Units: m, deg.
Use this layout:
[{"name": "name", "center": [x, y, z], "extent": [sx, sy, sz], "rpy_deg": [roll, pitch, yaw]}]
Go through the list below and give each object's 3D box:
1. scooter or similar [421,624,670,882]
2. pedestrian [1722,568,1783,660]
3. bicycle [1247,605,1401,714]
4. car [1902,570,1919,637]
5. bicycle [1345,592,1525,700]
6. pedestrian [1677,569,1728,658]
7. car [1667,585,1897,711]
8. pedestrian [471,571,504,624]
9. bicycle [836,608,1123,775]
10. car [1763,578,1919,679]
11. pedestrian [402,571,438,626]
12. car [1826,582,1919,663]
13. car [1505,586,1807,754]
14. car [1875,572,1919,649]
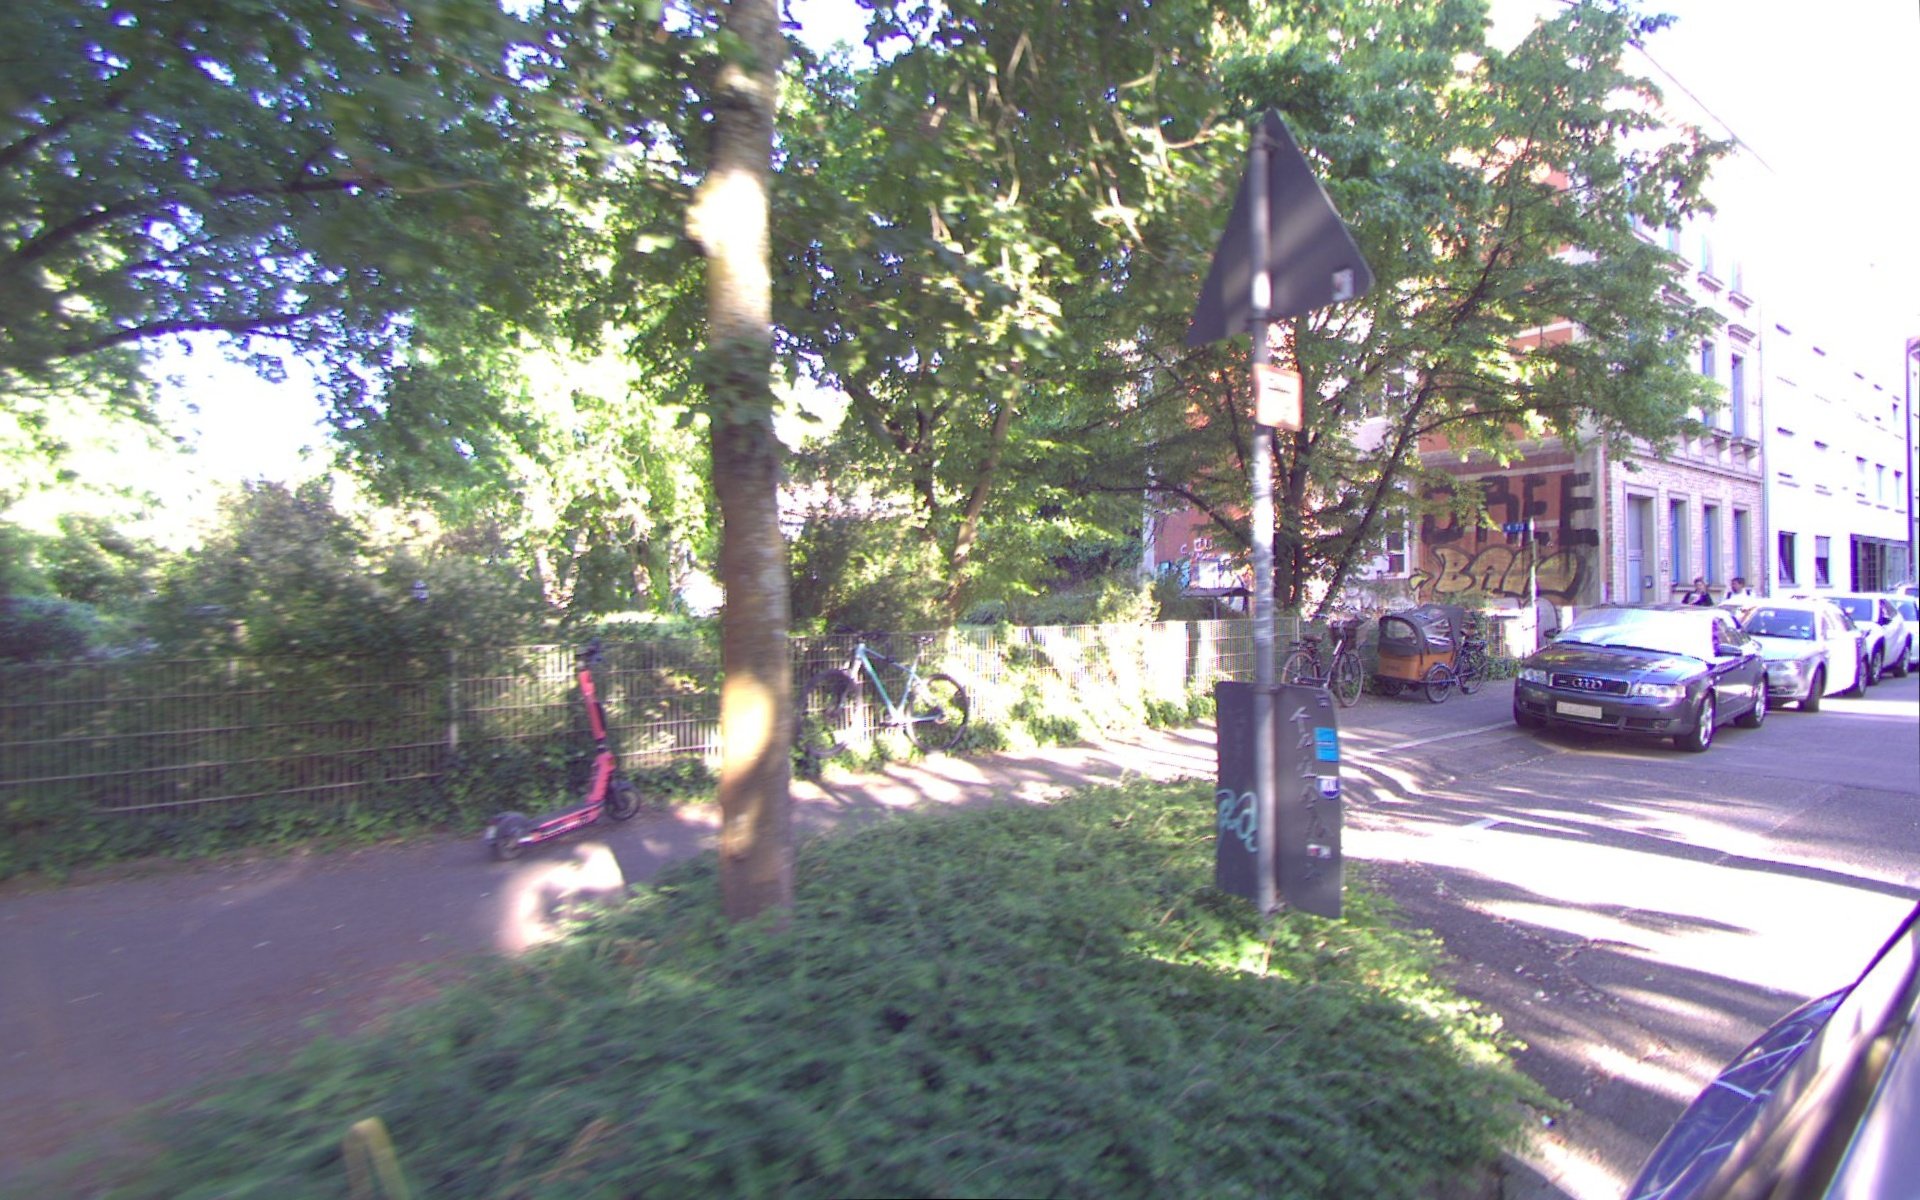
[{"name": "scooter or similar", "center": [-2.420, 0.823, 6.094], "extent": [0.539, 1.277, 1.463], "rpy_deg": [0, 1, 20]}, {"name": "pedestrian", "center": [15.435, 0.249, 19.713], "extent": [0.739, 1.730, 0.712], "rpy_deg": [-1, 3, -39]}, {"name": "bicycle", "center": [4.512, 0.689, 12.490], "extent": [1.945, 1.216, 0.849], "rpy_deg": [0, 0, -37]}, {"name": "car", "center": [26.581, 0.071, 26.703], "extent": [4.250, 1.687, 1.886], "rpy_deg": [-2, 3, -39]}, {"name": "bicycle", "center": [6.599, 0.577, 14.033], "extent": [2.283, 1.318, 1.295], "rpy_deg": [-1, 2, -36]}, {"name": "pedestrian", "center": [14.836, 0.256, 20.218], "extent": [0.694, 1.730, 0.599], "rpy_deg": [-1, 3, -39]}, {"name": "car", "center": [11.875, 0.562, 14.528], "extent": [4.274, 1.512, 1.663], "rpy_deg": [-1, 2, -38]}, {"name": "pedestrian", "center": [-18.305, -0.102, 39.206], "extent": [0.896, 2.039, 0.747], "rpy_deg": [0, 0, 9]}, {"name": "bicycle", "center": [0.240, 0.737, 9.195], "extent": [2.642, 1.284, 0.849], "rpy_deg": [-1, 0, -37]}, {"name": "car", "center": [15.673, 0.410, 17.845], "extent": [3.696, 1.605, 1.597], "rpy_deg": [-1, 1, -39]}, {"name": "pedestrian", "center": [-19.998, -0.058, 37.458], "extent": [0.896, 2.039, 0.747], "rpy_deg": [0, 0, 9]}, {"name": "car", "center": [19.003, 0.391, 20.536], "extent": [3.933, 1.468, 1.596], "rpy_deg": [-1, 2, -41]}, {"name": "car", "center": [8.021, 0.629, 11.507], "extent": [4.335, 1.512, 1.725], "rpy_deg": [-1, 2, -40]}, {"name": "car", "center": [22.795, 0.207, 23.313], "extent": [4.248, 1.687, 1.771], "rpy_deg": [-1, 1, -37]}]
